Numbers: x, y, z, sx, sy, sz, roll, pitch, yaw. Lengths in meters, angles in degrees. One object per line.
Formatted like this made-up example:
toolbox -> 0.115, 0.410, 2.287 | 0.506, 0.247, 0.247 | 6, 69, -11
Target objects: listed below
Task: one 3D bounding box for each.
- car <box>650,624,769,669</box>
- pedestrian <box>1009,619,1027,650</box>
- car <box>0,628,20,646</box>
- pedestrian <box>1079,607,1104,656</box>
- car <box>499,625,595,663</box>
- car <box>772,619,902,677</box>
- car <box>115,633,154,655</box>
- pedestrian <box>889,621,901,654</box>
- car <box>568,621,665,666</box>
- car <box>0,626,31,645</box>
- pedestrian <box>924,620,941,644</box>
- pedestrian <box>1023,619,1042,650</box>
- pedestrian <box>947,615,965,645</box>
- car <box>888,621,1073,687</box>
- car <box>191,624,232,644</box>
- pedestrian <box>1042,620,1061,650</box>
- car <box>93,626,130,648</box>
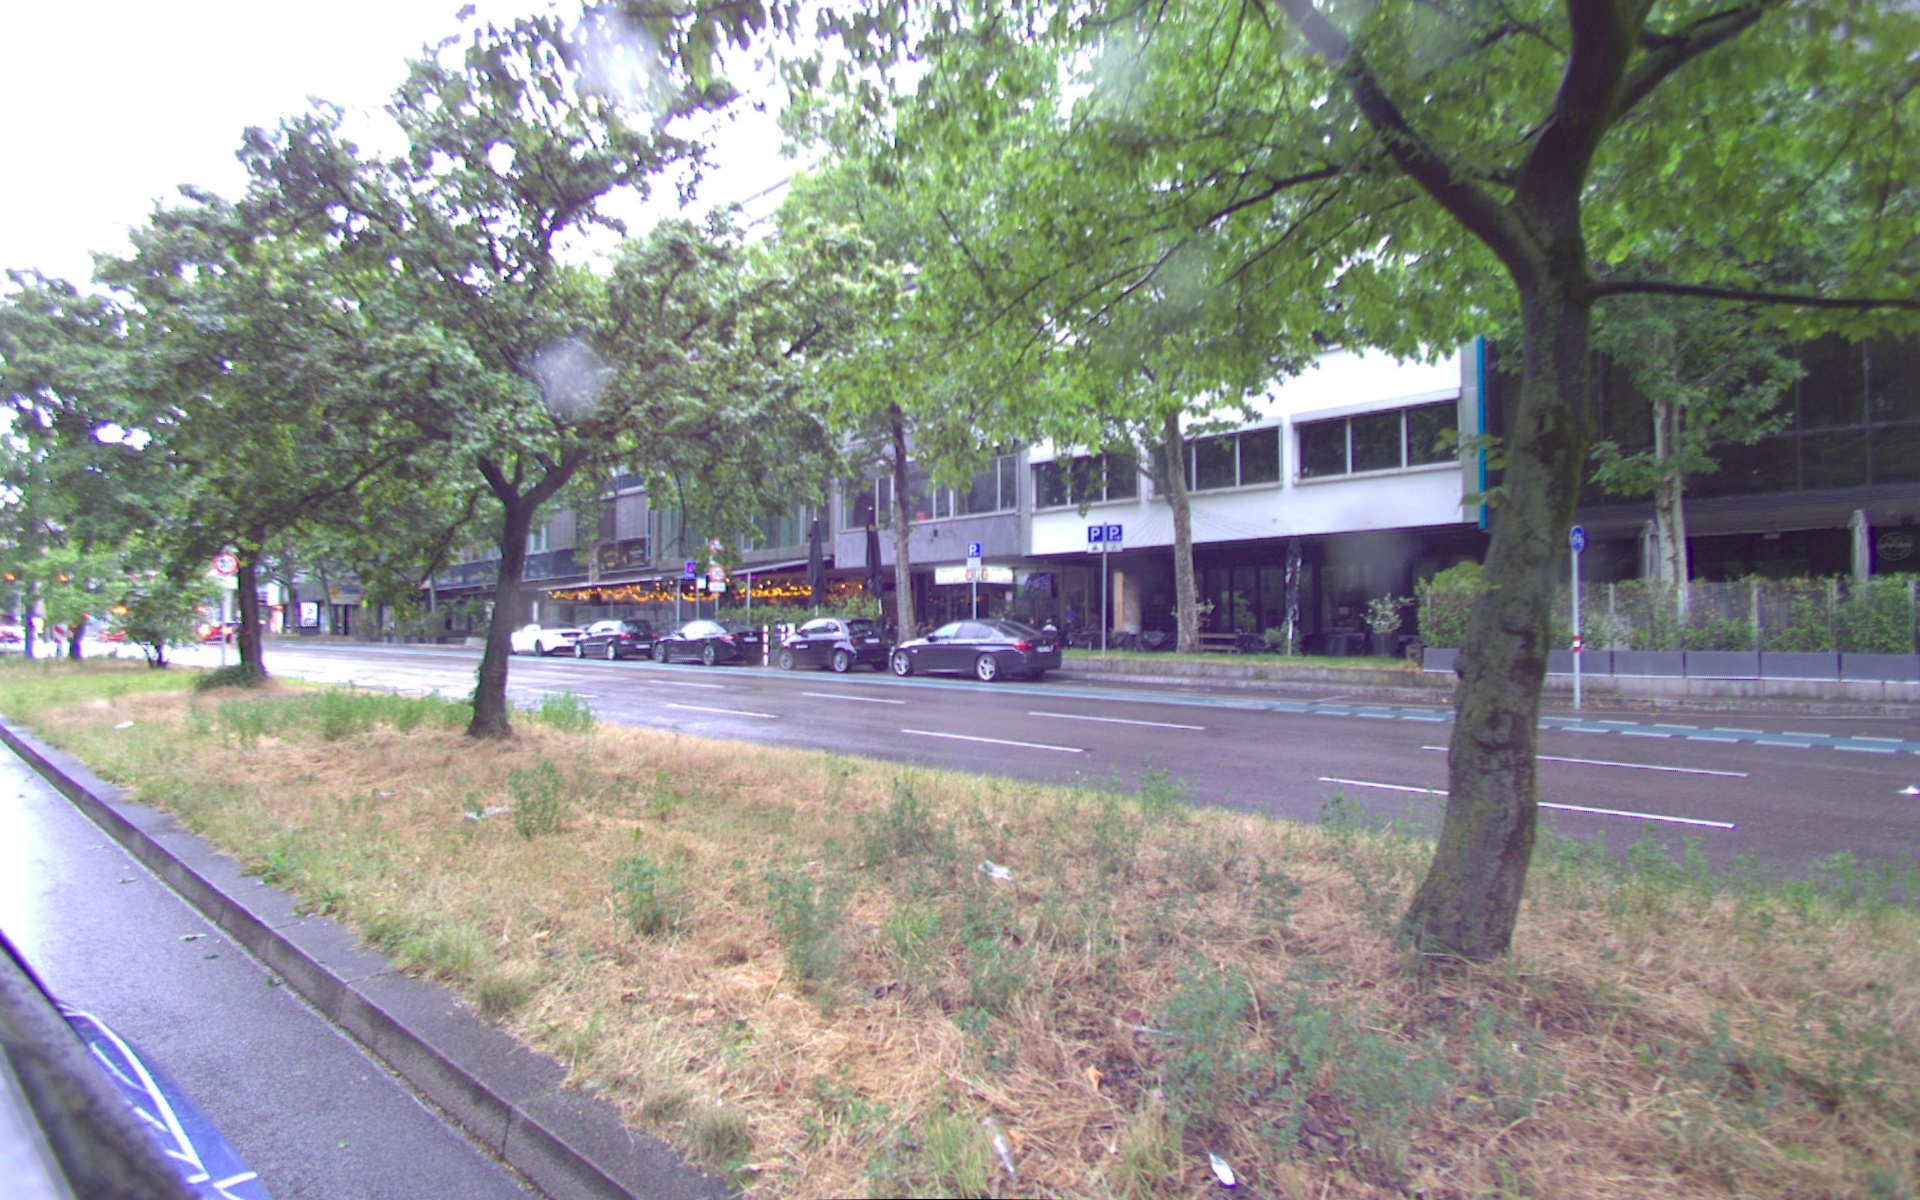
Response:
car -> -8.087, 1.450, 32.460 | 4.319, 1.249, 1.625 | 0, 0, 44
pedestrian -> 1.932, 1.129, 33.522 | 0.461, 1.000, 0.455 | -1, 0, 26
car -> -78.741, 3.053, 83.157 | 3.524, 1.400, 1.657 | 0, 0, 39
pedestrian -> 4.521, 1.060, 34.813 | 0.623, 1.660, 0.598 | -1, 0, 37
car -> -16.533, 1.703, 40.428 | 4.392, 1.336, 1.856 | 0, 0, 43
car -> -3.484, 1.292, 28.325 | 3.400, 1.433, 1.851 | 0, 0, 42
car -> -64.887, 3.420, 79.512 | 3.727, 1.586, 1.758 | 0, 0, 41
pedestrian -> -2.405, 1.386, 37.412 | 0.460, 1.195, 0.446 | -1, 0, -4
car -> -12.461, 1.526, 36.590 | 3.788, 1.464, 1.727 | 0, 0, 42
car -> -99.787, 3.748, 106.905 | 3.997, 1.829, 1.973 | 0, 0, 41
pedestrian -> -1.007, 1.147, 36.484 | 0.433, 0.856, 0.435 | -1, 0, 39
pedestrian -> 2.390, 1.125, 33.242 | 0.488, 1.008, 0.481 | -1, 0, 26
pedestrian -> -0.152, 1.060, 35.507 | 0.423, 1.024, 0.459 | -1, 0, 39
car -> 0.417, 1.247, 24.768 | 1.849, 1.396, 4.539 | -1, 0, -45
car -> -54.672, 2.495, 73.929 | 3.737, 1.335, 1.742 | 0, 0, 42
pedestrian -> 2.979, 1.129, 32.944 | 0.451, 0.970, 0.454 | -1, 0, 26
car -> -72.869, 3.146, 86.930 | 3.954, 1.799, 1.913 | 0, 0, 42
